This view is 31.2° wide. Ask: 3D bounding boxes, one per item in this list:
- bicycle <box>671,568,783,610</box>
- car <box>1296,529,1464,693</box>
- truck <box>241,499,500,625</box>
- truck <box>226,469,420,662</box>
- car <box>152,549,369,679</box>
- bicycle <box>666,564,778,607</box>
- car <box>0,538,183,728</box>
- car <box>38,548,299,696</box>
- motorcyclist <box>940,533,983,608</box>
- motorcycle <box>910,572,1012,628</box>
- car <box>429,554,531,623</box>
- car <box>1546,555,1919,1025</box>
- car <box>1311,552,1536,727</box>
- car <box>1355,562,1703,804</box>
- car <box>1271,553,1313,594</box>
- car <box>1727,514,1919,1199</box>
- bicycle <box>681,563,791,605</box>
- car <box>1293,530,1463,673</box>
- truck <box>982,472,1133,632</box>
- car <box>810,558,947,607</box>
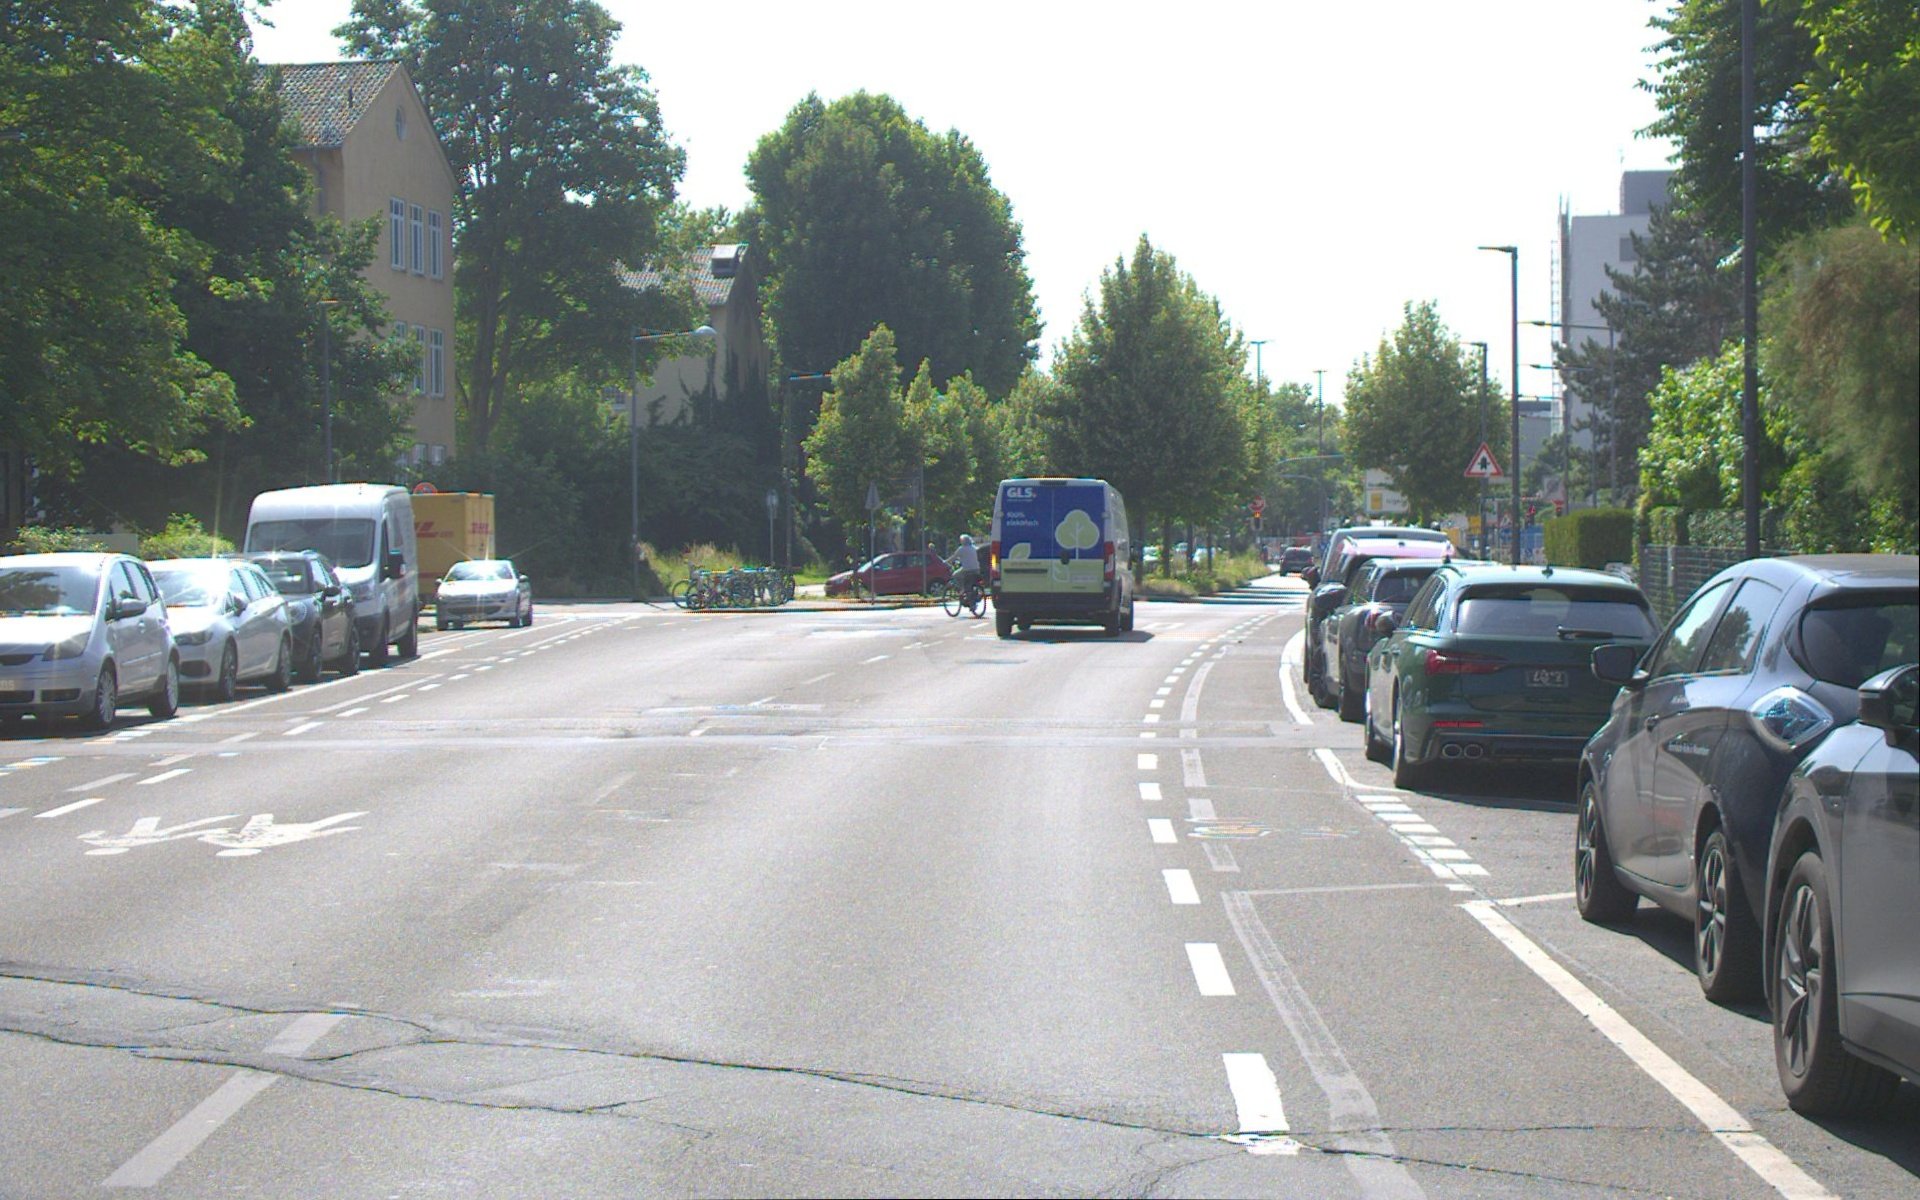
[{"bbox_3d":[-5.752,-0.277,84.724,2.664,1.023,1.026,0,0,-10],"label":"bicycle"},{"bbox_3d":[4.486,0.078,37.084,1.701,1.671,3.774,0,1,6],"label":"car"},{"bbox_3d":[-14.029,-0.906,81.961,5.669,2.936,2.221,0,0,8],"label":"truck"},{"bbox_3d":[-8.776,-0.501,47.768,2.080,2.528,5.468,0,1,-5],"label":"truck"},{"bbox_3d":[-8.401,0.132,41.592,1.754,1.491,3.654,0,1,2],"label":"car"},{"bbox_3d":[-5.953,-0.367,85.845,2.687,1.044,1.026,0,0,-10],"label":"bicycle"},{"bbox_3d":[-8.271,0.267,30.698,1.835,1.590,3.775,0,0,0],"label":"car"},{"bbox_3d":[-8.393,0.195,36.749,1.835,1.491,3.654,0,1,2],"label":"car"},{"bbox_3d":[0.034,-0.608,70.620,0.672,1.513,0.652,0,0,-23],"label":"motorcyclist"},{"bbox_3d":[0.003,-0.008,70.719,1.056,1.119,2.993,0,1,-22],"label":"motorcycle"},{"bbox_3d":[-9.685,-0.249,69.566,1.754,1.339,3.654,0,1,-3],"label":"car"},{"bbox_3d":[3.406,0.619,13.258,1.709,1.509,3.902,2,1,2],"label":"car"},{"bbox_3d":[4.174,0.306,31.471,1.785,1.394,4.122,1,2,4],"label":"car"},{"bbox_3d":[3.692,0.479,22.993,1.785,1.394,4.324,2,1,3],"label":"car"},{"bbox_3d":[16.570,-1.321,171.647,1.908,2.007,4.000,0,0,3],"label":"car"},{"bbox_3d":[3.154,0.642,7.869,1.785,1.632,4.470,2,1,1],"label":"car"},{"bbox_3d":[-5.672,-0.409,87.011,2.687,1.044,1.026,0,0,-10],"label":"bicycle"},{"bbox_3d":[5.097,-0.006,42.325,1.700,1.671,3.775,0,1,1],"label":"car"},{"bbox_3d":[1.670,-0.795,57.465,2.273,2.562,4.391,0,0,5],"label":"truck"},{"bbox_3d":[-2.492,-0.539,104.850,3.986,1.485,1.629,0,0,-10],"label":"car"}]
